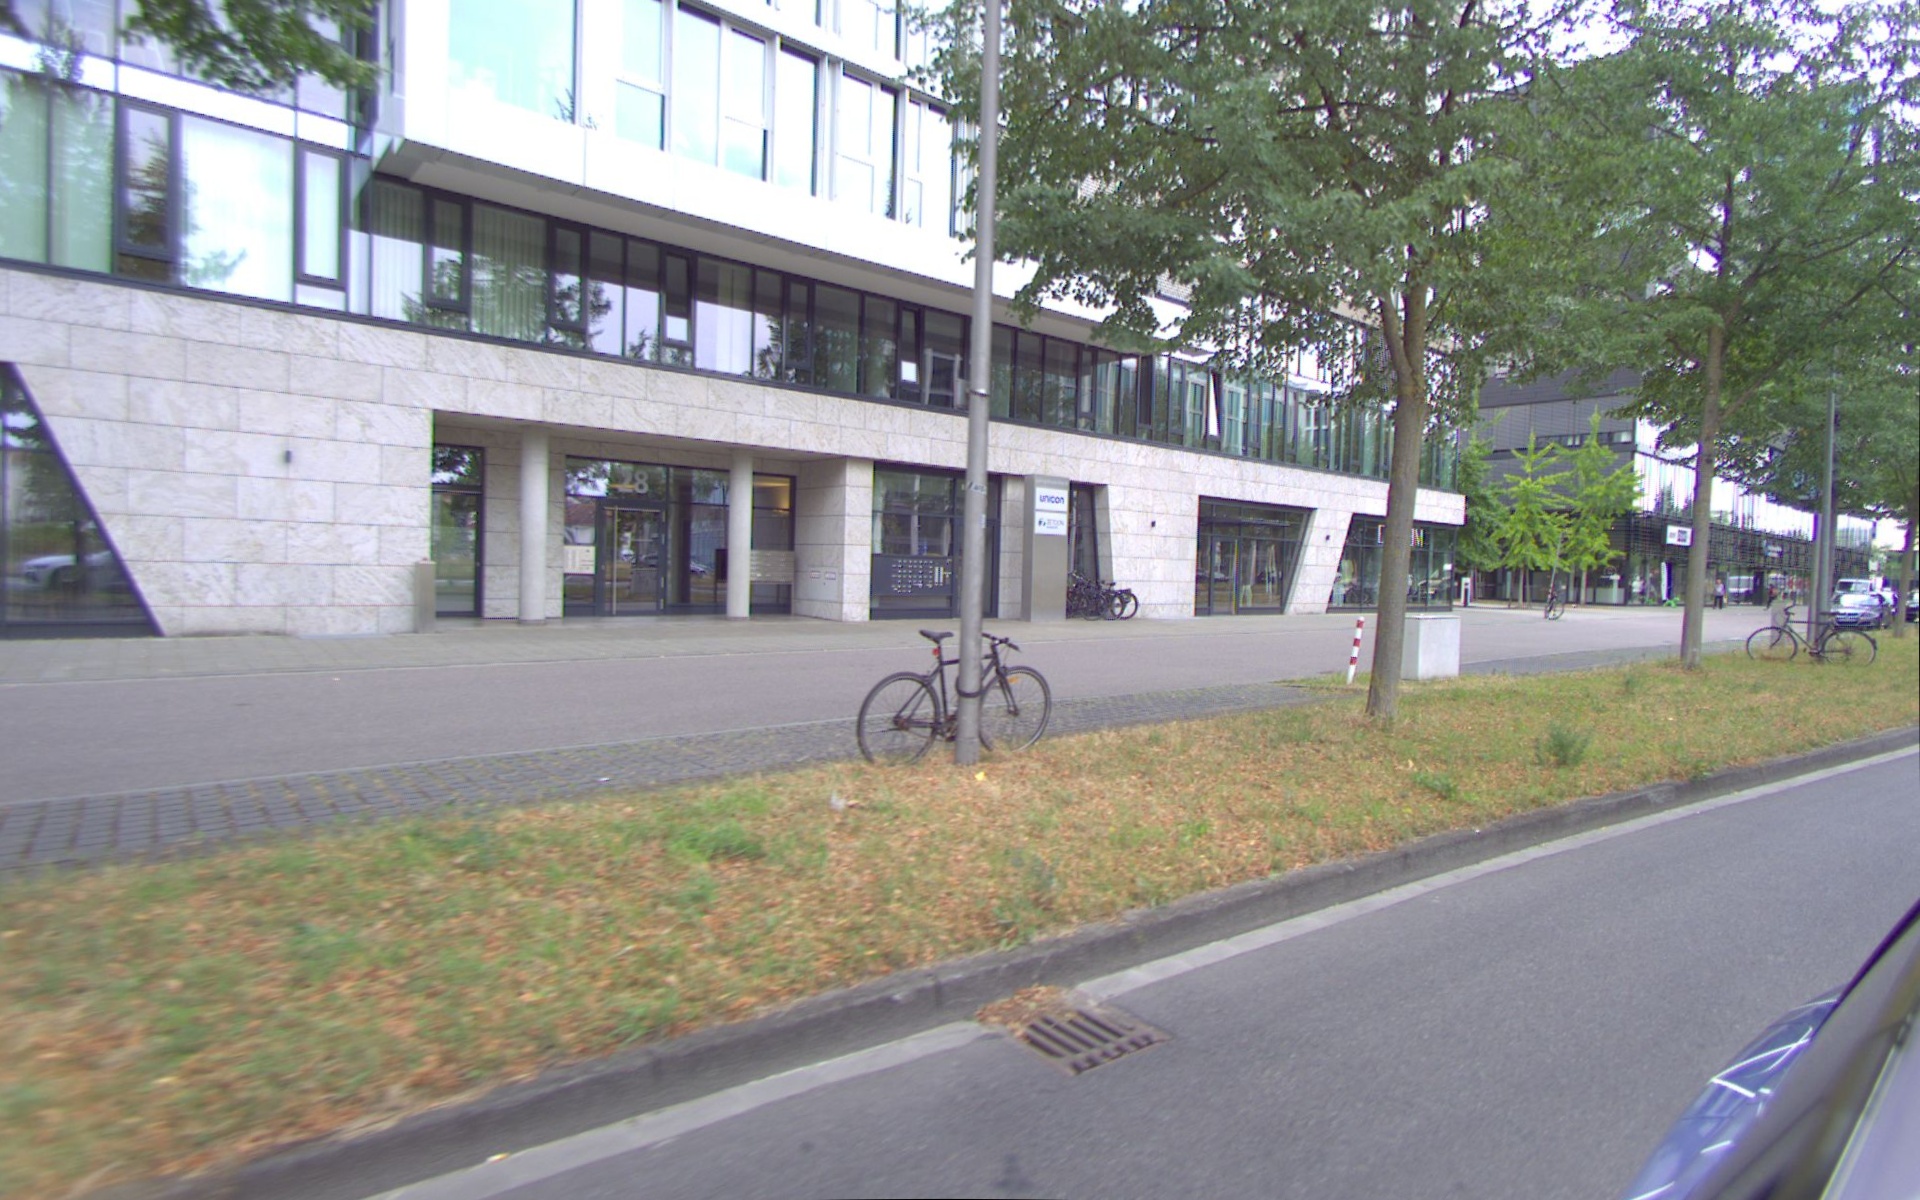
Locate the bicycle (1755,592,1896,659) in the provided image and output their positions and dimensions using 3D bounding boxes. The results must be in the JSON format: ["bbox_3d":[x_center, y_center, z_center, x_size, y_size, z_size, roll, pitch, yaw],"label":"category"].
[{"bbox_3d":[14.837,0.412,17.405,1.779,1.031,0.417,3,2,37],"label":"bicycle"}]

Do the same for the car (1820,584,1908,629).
[{"bbox_3d":[34.006,0.218,38.039,3.930,1.549,1.953,0,3,-41],"label":"car"}]

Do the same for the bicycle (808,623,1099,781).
[{"bbox_3d":[0.009,0.642,7.038,2.077,0.887,0.634,-1,0,-38],"label":"bicycle"}]

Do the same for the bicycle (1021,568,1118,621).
[{"bbox_3d":[2.672,-0.165,24.918,2.232,1.191,0.961,3,3,44],"label":"bicycle"}]

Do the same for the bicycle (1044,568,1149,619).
[{"bbox_3d":[3.466,-0.185,25.851,2.419,1.191,1.184,3,3,44],"label":"bicycle"}]
